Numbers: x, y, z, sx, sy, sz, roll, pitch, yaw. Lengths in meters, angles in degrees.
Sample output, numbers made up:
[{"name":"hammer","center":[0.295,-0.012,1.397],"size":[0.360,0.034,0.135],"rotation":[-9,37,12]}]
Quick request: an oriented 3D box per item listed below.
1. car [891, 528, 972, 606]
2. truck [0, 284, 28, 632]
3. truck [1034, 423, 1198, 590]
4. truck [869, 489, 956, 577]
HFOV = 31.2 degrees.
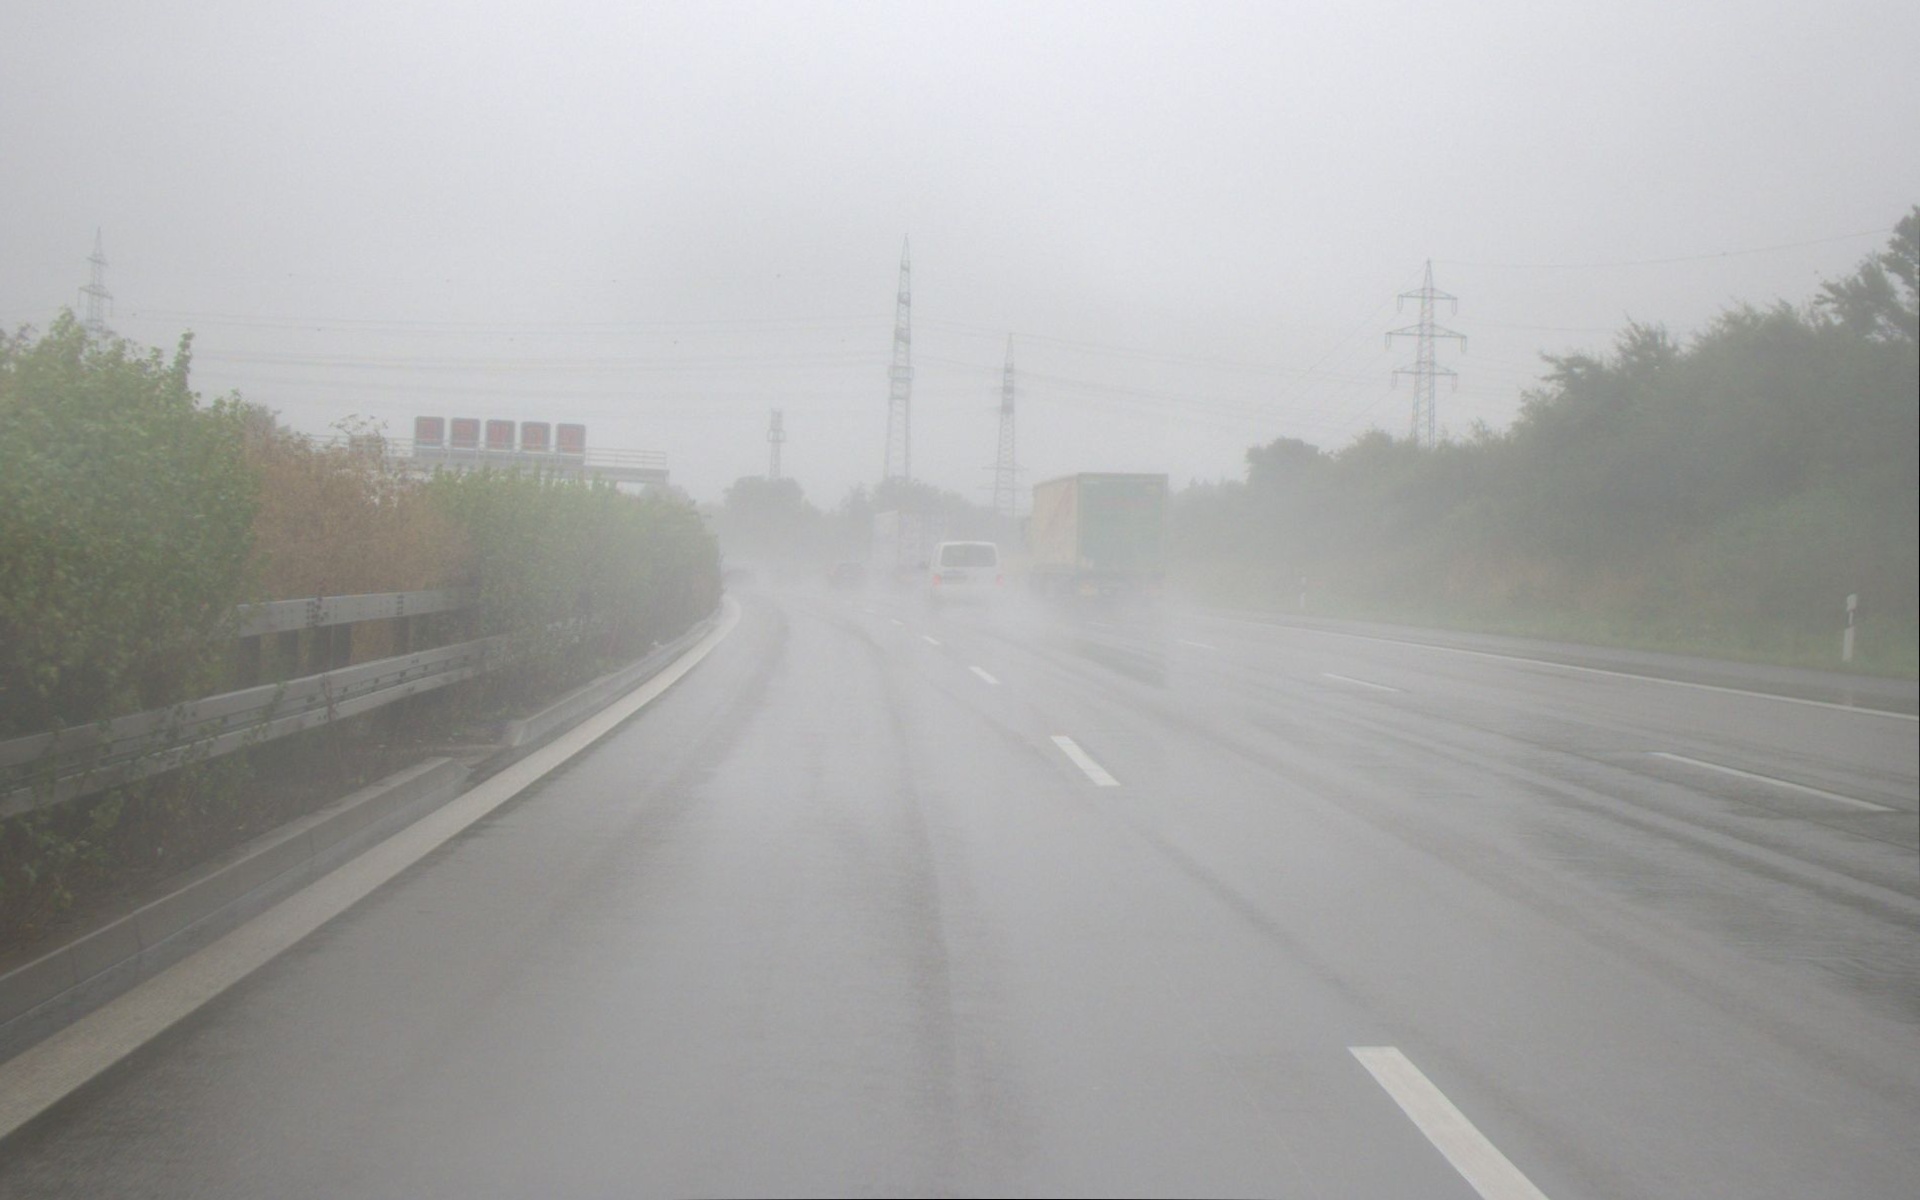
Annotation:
[{"name":"car","center":[-0.778,-0.887,90.475],"size":[1.993,2.007,4.001],"rotation":[1,1,-2]},{"name":"truck","center":[-18.906,-2.401,54.259],"size":[4.113,6.104,16.003],"rotation":[1,1,0]},{"name":"truck","center":[4.526,-2.673,103.750],"size":[4.189,4.614,16.105],"rotation":[1,0,0]},{"name":"truck","center":[-2.446,-3.375,173.861],"size":[3.232,4.297,8.839],"rotation":[0,1,-8]}]
